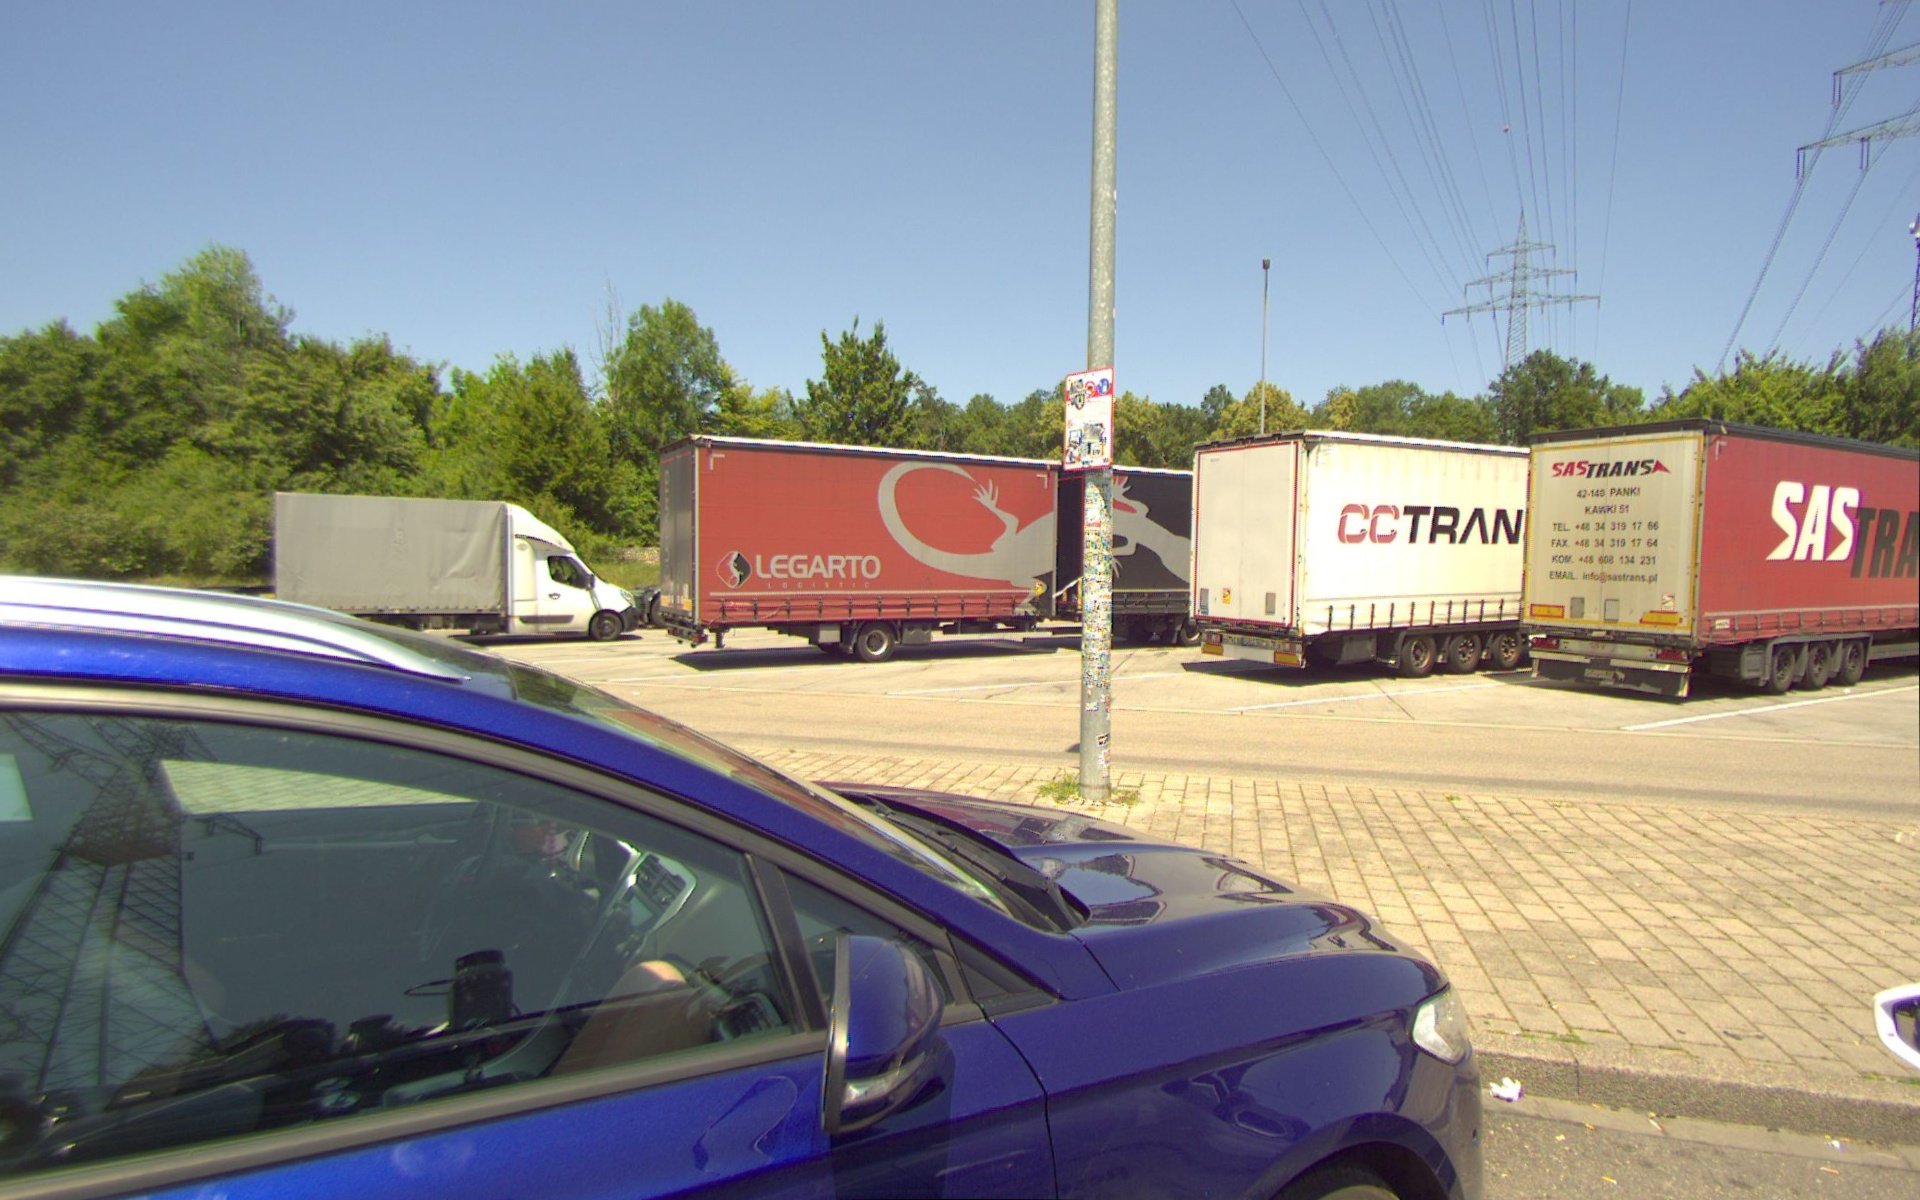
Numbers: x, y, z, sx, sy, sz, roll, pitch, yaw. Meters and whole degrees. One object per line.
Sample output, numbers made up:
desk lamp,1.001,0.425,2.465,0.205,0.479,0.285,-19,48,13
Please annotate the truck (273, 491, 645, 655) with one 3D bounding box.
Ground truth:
truck,-11.179,-0.628,23.025,7.204,3.279,2.727,-1,3,-29

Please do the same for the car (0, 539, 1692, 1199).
car,-1.026,0.679,1.495,4.444,1.511,1.859,0,2,-32

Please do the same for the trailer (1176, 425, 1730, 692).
trailer,10.597,-0.800,20.337,13.962,4.141,2.782,-1,3,-30

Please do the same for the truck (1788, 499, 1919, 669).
truck,21.219,-0.391,22.004,5.829,3.373,2.837,-1,3,-30

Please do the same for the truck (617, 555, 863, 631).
truck,-6.337,-0.233,29.275,6.733,2.041,1.987,-1,1,-26

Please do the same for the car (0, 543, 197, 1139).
car,-4.602,0.601,2.227,4.444,1.520,1.762,0,2,-32

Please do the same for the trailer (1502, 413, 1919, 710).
trailer,15.617,-0.690,18.726,13.962,4.141,2.777,-1,3,-30

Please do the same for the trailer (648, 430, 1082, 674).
trailer,-1.733,-0.902,20.330,8.376,4.141,2.722,-1,3,-30

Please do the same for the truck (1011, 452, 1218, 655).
truck,3.580,-1.067,23.451,3.947,4.298,2.723,-1,3,-30

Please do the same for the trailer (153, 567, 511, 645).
trailer,-15.154,0.052,24.895,7.204,1.711,2.249,-1,3,-29
